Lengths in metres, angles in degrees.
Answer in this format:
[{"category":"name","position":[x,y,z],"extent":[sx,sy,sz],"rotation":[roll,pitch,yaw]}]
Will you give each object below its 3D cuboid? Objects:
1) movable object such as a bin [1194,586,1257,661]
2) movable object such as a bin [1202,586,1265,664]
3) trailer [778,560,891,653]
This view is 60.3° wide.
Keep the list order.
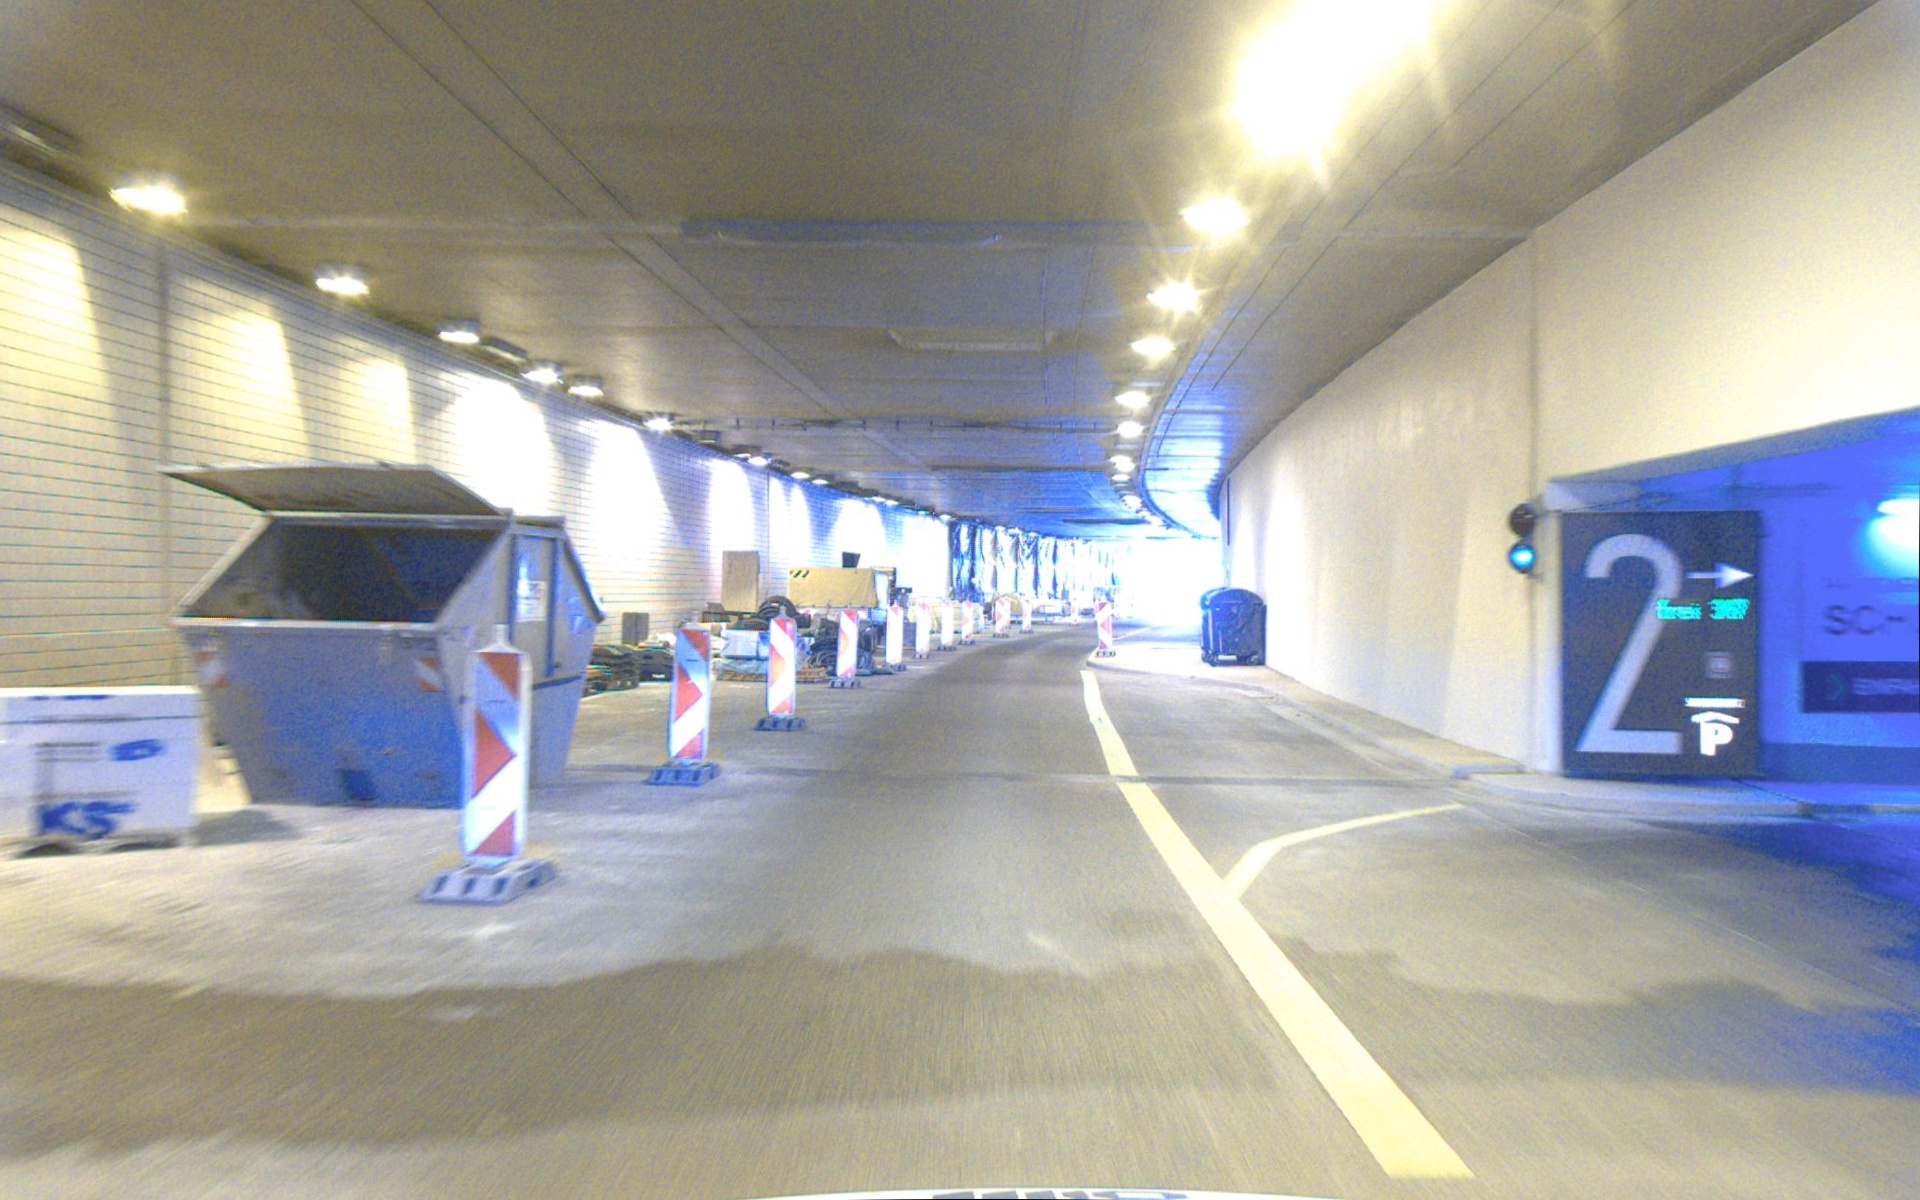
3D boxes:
[{"category":"movable object such as a bin","position":[5.348,0.466,33.439],"extent":[1.121,1.470,1.364],"rotation":[1,0,4]},{"category":"movable object such as a bin","position":[5.280,0.479,32.000],"extent":[1.074,1.470,1.322],"rotation":[1,0,4]},{"category":"trailer","position":[-2.879,0.152,38.736],"extent":[2.162,2.049,3.467],"rotation":[1,0,3]}]
